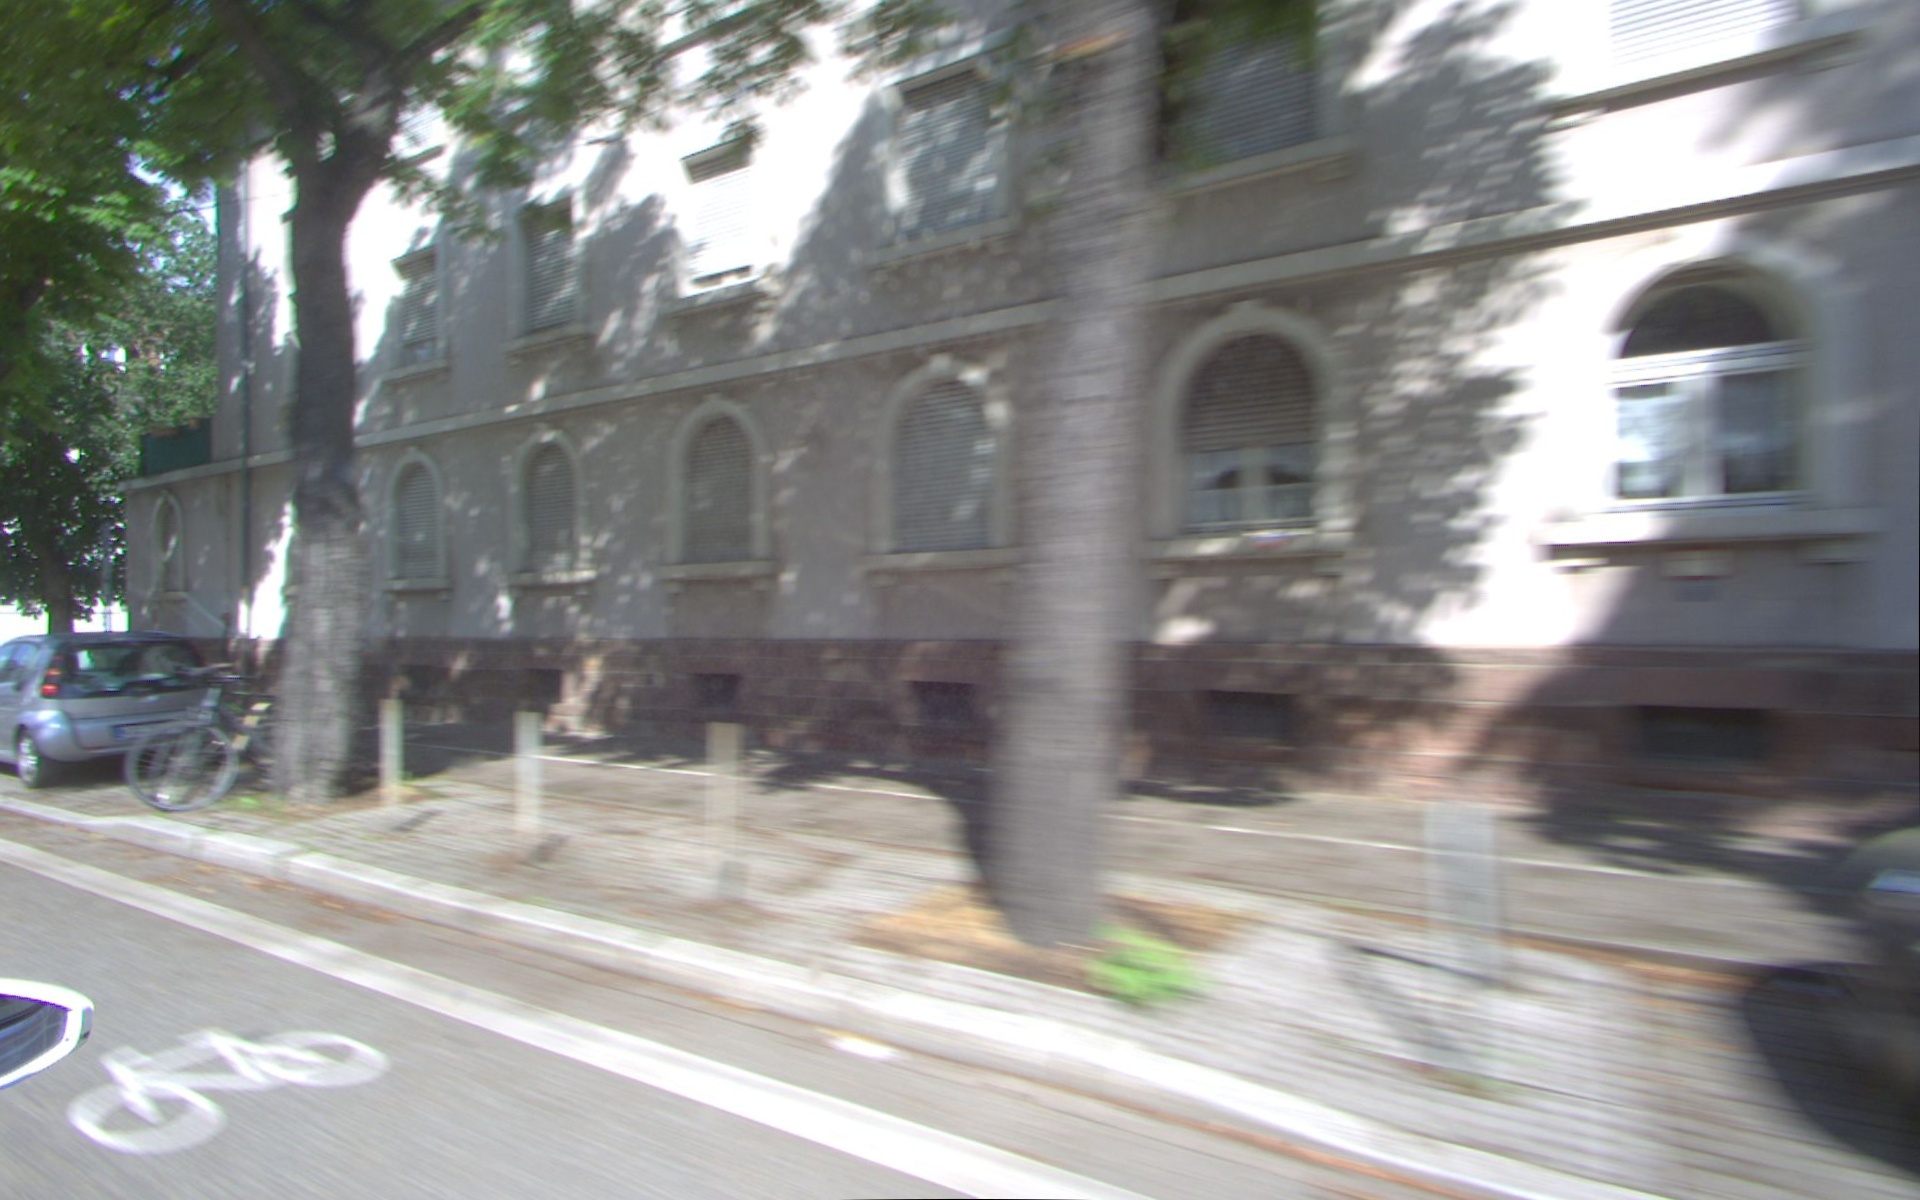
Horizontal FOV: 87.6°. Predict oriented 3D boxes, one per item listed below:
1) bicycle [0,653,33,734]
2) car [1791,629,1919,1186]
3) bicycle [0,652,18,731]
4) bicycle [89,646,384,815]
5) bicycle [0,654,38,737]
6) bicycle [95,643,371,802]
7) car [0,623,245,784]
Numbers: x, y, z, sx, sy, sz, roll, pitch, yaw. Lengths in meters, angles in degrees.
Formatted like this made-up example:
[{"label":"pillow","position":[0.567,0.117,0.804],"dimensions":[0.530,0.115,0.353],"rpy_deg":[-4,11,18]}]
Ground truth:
[{"label":"bicycle","position":[-13.425,1.252,13.070],"dimensions":[0.396,1.086,1.900],"rpy_deg":[0,-1,32]},{"label":"car","position":[4.594,0.801,1.914],"dimensions":[4.327,1.428,1.844],"rpy_deg":[-1,0,29]},{"label":"bicycle","position":[-13.779,1.249,13.238],"dimensions":[0.396,1.086,1.900],"rpy_deg":[0,-1,32]},{"label":"bicycle","position":[-5.938,1.012,8.327],"dimensions":[0.507,1.191,1.926],"rpy_deg":[-1,-1,43]},{"label":"bicycle","position":[-13.084,1.252,12.782],"dimensions":[0.396,1.086,1.900],"rpy_deg":[0,-1,32]},{"label":"bicycle","position":[-6.280,1.002,8.743],"dimensions":[0.507,1.191,1.883],"rpy_deg":[-1,-1,43]},{"label":"car","position":[-9.689,1.006,11.024],"dimensions":[3.712,1.449,1.662],"rpy_deg":[-1,1,32]}]
